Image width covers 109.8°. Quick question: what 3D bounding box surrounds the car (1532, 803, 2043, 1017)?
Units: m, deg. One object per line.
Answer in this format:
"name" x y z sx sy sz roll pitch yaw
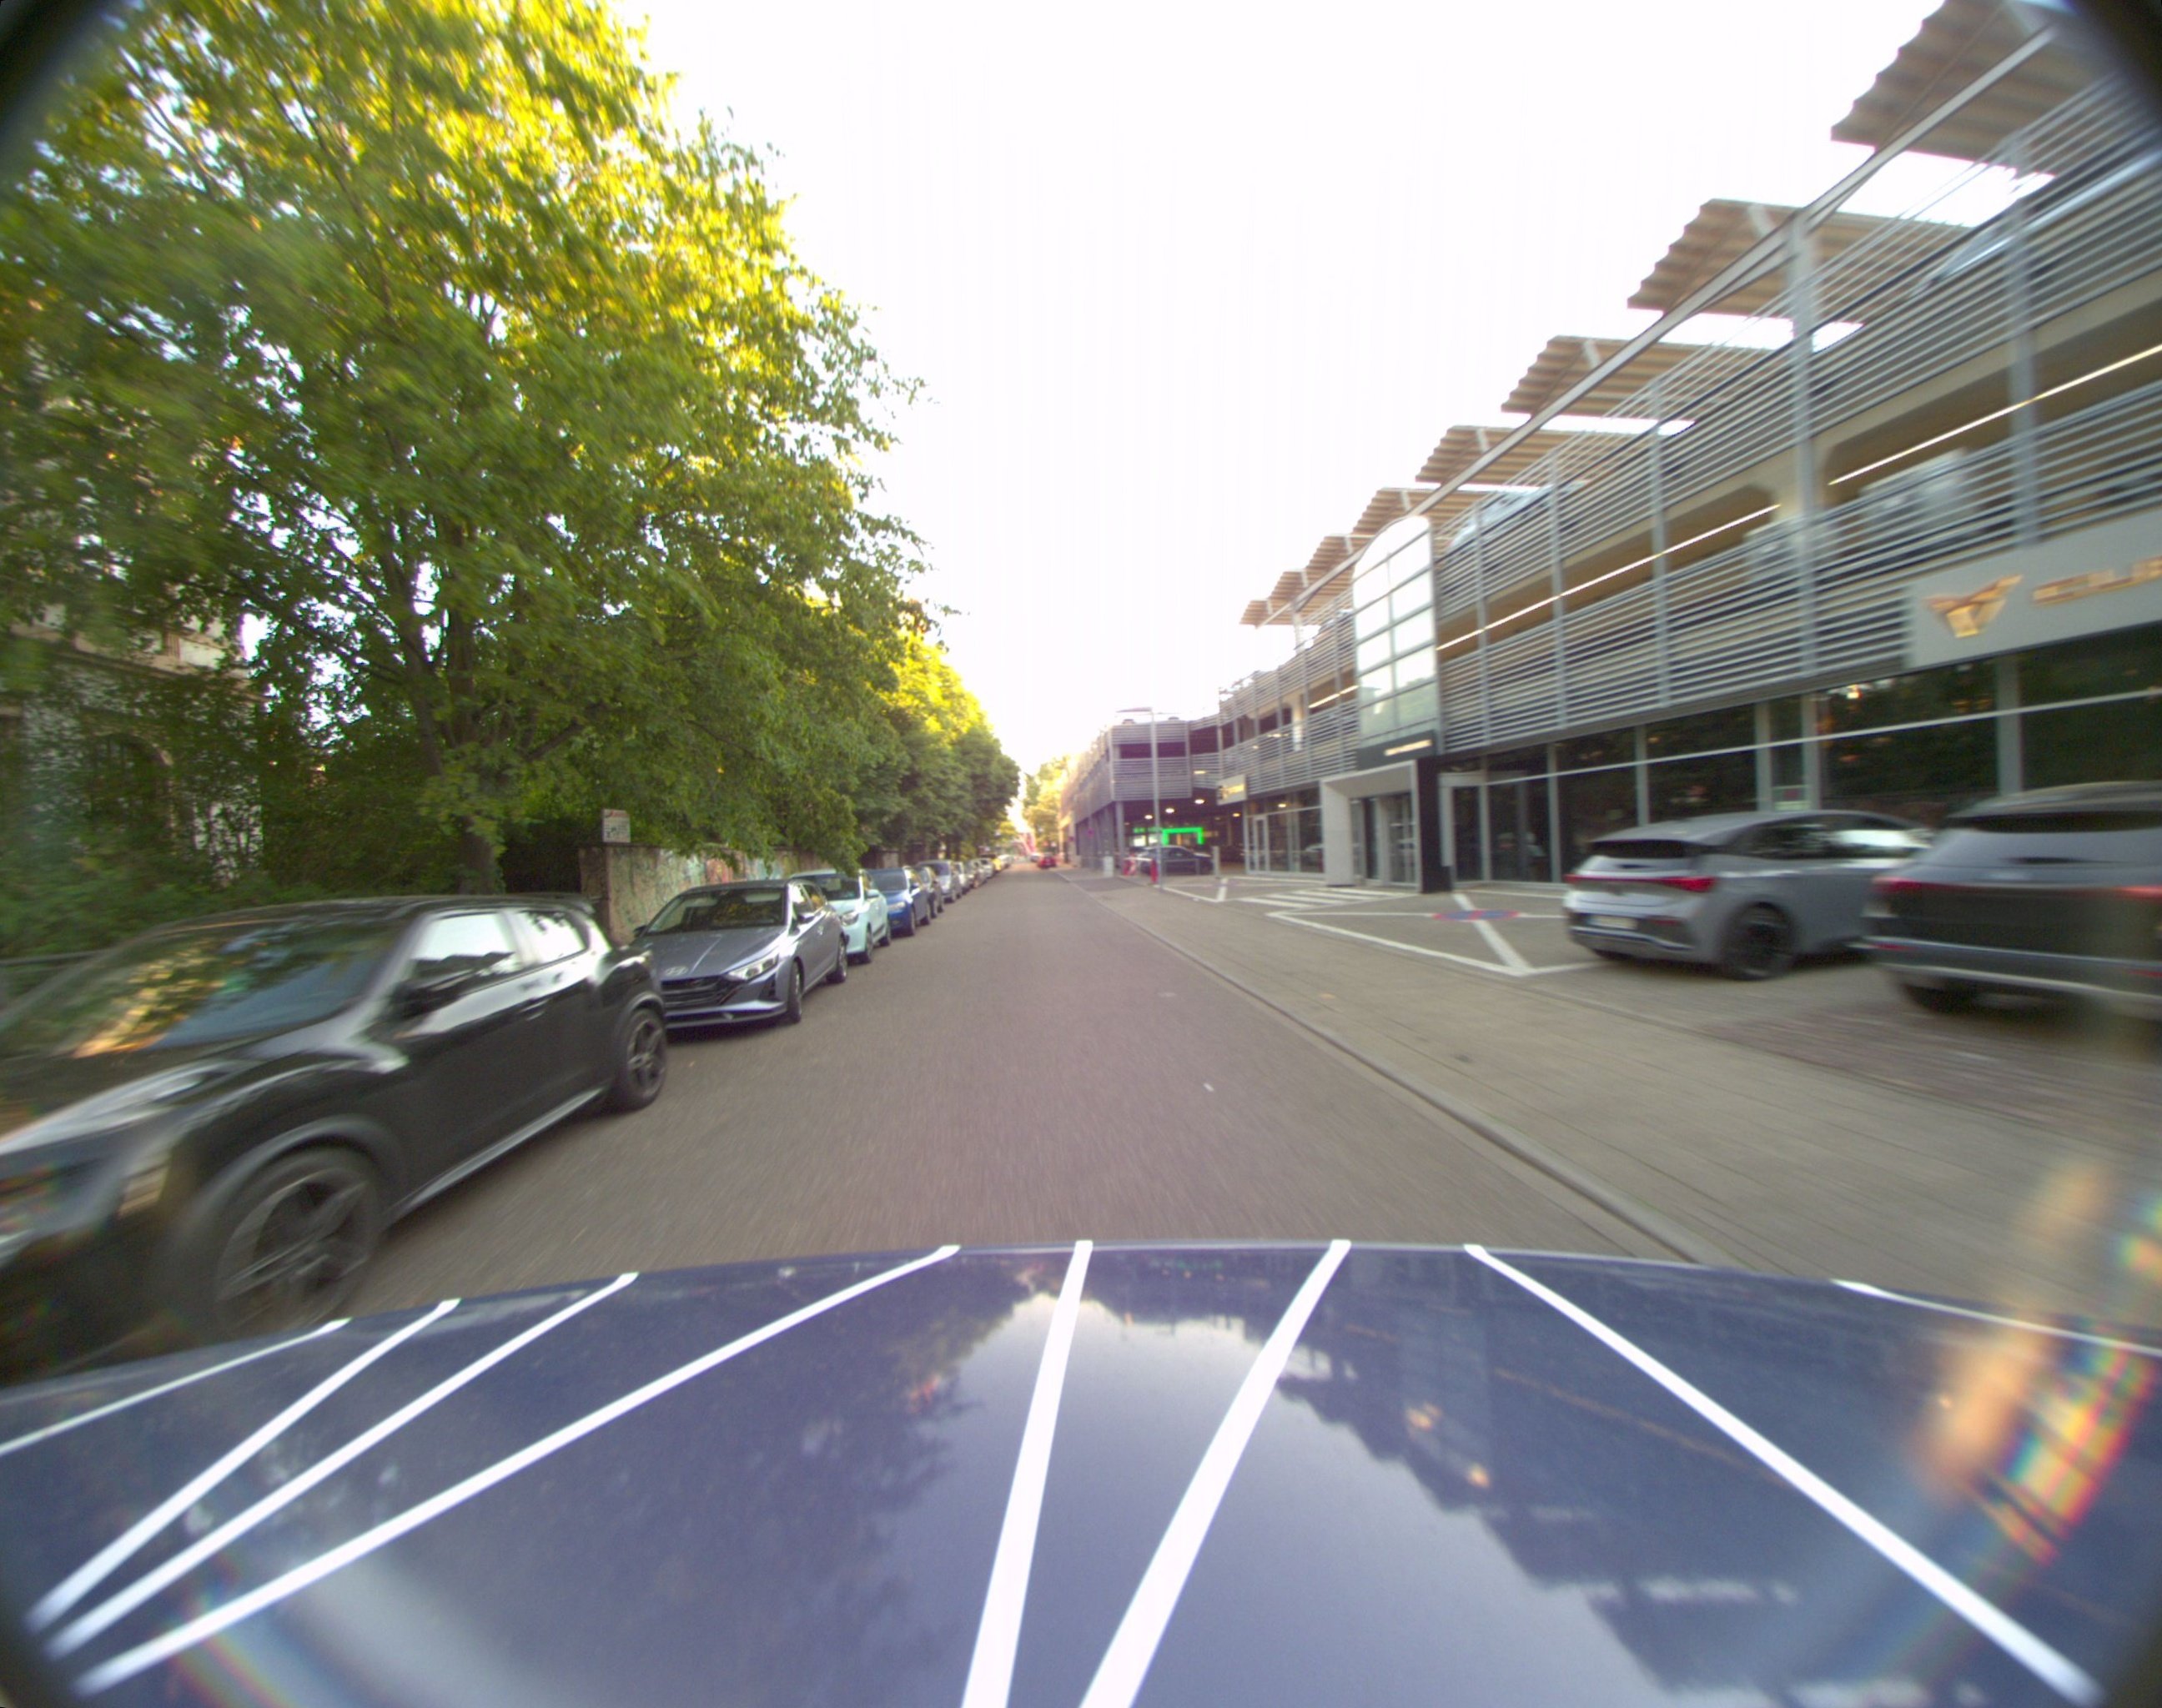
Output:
"car" 6.955 0.483 7.717 3.692 1.582 1.705 -5 1 -5

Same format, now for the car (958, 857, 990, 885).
"car" -6.346 0.985 45.349 1.632 1.446 3.764 -2 1 -5

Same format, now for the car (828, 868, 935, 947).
"car" -4.434 1.130 17.476 1.632 1.426 4.127 -2 1 -5

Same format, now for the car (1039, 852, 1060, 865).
"car" -3.380 0.431 81.602 1.876 1.279 3.399 -2 1 -7

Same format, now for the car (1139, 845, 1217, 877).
"car" 5.276 0.361 41.496 3.926 1.559 1.632 -2 1 -5

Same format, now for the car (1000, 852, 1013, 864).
"car" -9.424 0.518 96.466 1.632 1.446 3.764 -2 1 -5

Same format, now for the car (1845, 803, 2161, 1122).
"car" 7.576 0.465 4.804 4.126 1.596 1.717 -4 1 -8

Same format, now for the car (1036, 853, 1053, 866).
"car" -4.162 0.609 85.980 1.633 1.446 3.763 -2 1 -7

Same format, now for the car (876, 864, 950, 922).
"car" -4.922 1.084 22.768 1.632 1.426 4.127 -2 1 -6

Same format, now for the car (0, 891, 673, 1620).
"car" -3.630 1.105 3.469 1.632 1.536 3.940 -4 1 -6

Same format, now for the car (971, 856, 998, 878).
"car" -7.024 0.925 55.480 1.632 1.446 3.764 -2 1 -3

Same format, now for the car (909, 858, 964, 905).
"car" -5.489 1.009 29.319 1.632 1.558 4.127 -2 1 -5

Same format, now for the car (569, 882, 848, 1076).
"car" -3.788 1.147 8.483 1.633 1.426 3.781 -2 1 -8

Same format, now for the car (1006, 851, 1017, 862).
"car" -10.221 0.363 111.784 1.632 1.446 3.764 -2 1 -5

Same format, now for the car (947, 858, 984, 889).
"car" -6.038 1.000 40.086 1.632 1.446 3.764 -2 1 -4

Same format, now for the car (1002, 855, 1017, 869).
"car" -8.158 0.874 86.616 1.632 1.446 3.764 -2 1 -5

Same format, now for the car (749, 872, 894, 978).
"car" -4.301 1.098 13.135 1.633 1.426 3.684 -2 0 -8

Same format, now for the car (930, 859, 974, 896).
"car" -5.789 1.021 34.453 1.632 1.446 3.764 -2 1 -5
